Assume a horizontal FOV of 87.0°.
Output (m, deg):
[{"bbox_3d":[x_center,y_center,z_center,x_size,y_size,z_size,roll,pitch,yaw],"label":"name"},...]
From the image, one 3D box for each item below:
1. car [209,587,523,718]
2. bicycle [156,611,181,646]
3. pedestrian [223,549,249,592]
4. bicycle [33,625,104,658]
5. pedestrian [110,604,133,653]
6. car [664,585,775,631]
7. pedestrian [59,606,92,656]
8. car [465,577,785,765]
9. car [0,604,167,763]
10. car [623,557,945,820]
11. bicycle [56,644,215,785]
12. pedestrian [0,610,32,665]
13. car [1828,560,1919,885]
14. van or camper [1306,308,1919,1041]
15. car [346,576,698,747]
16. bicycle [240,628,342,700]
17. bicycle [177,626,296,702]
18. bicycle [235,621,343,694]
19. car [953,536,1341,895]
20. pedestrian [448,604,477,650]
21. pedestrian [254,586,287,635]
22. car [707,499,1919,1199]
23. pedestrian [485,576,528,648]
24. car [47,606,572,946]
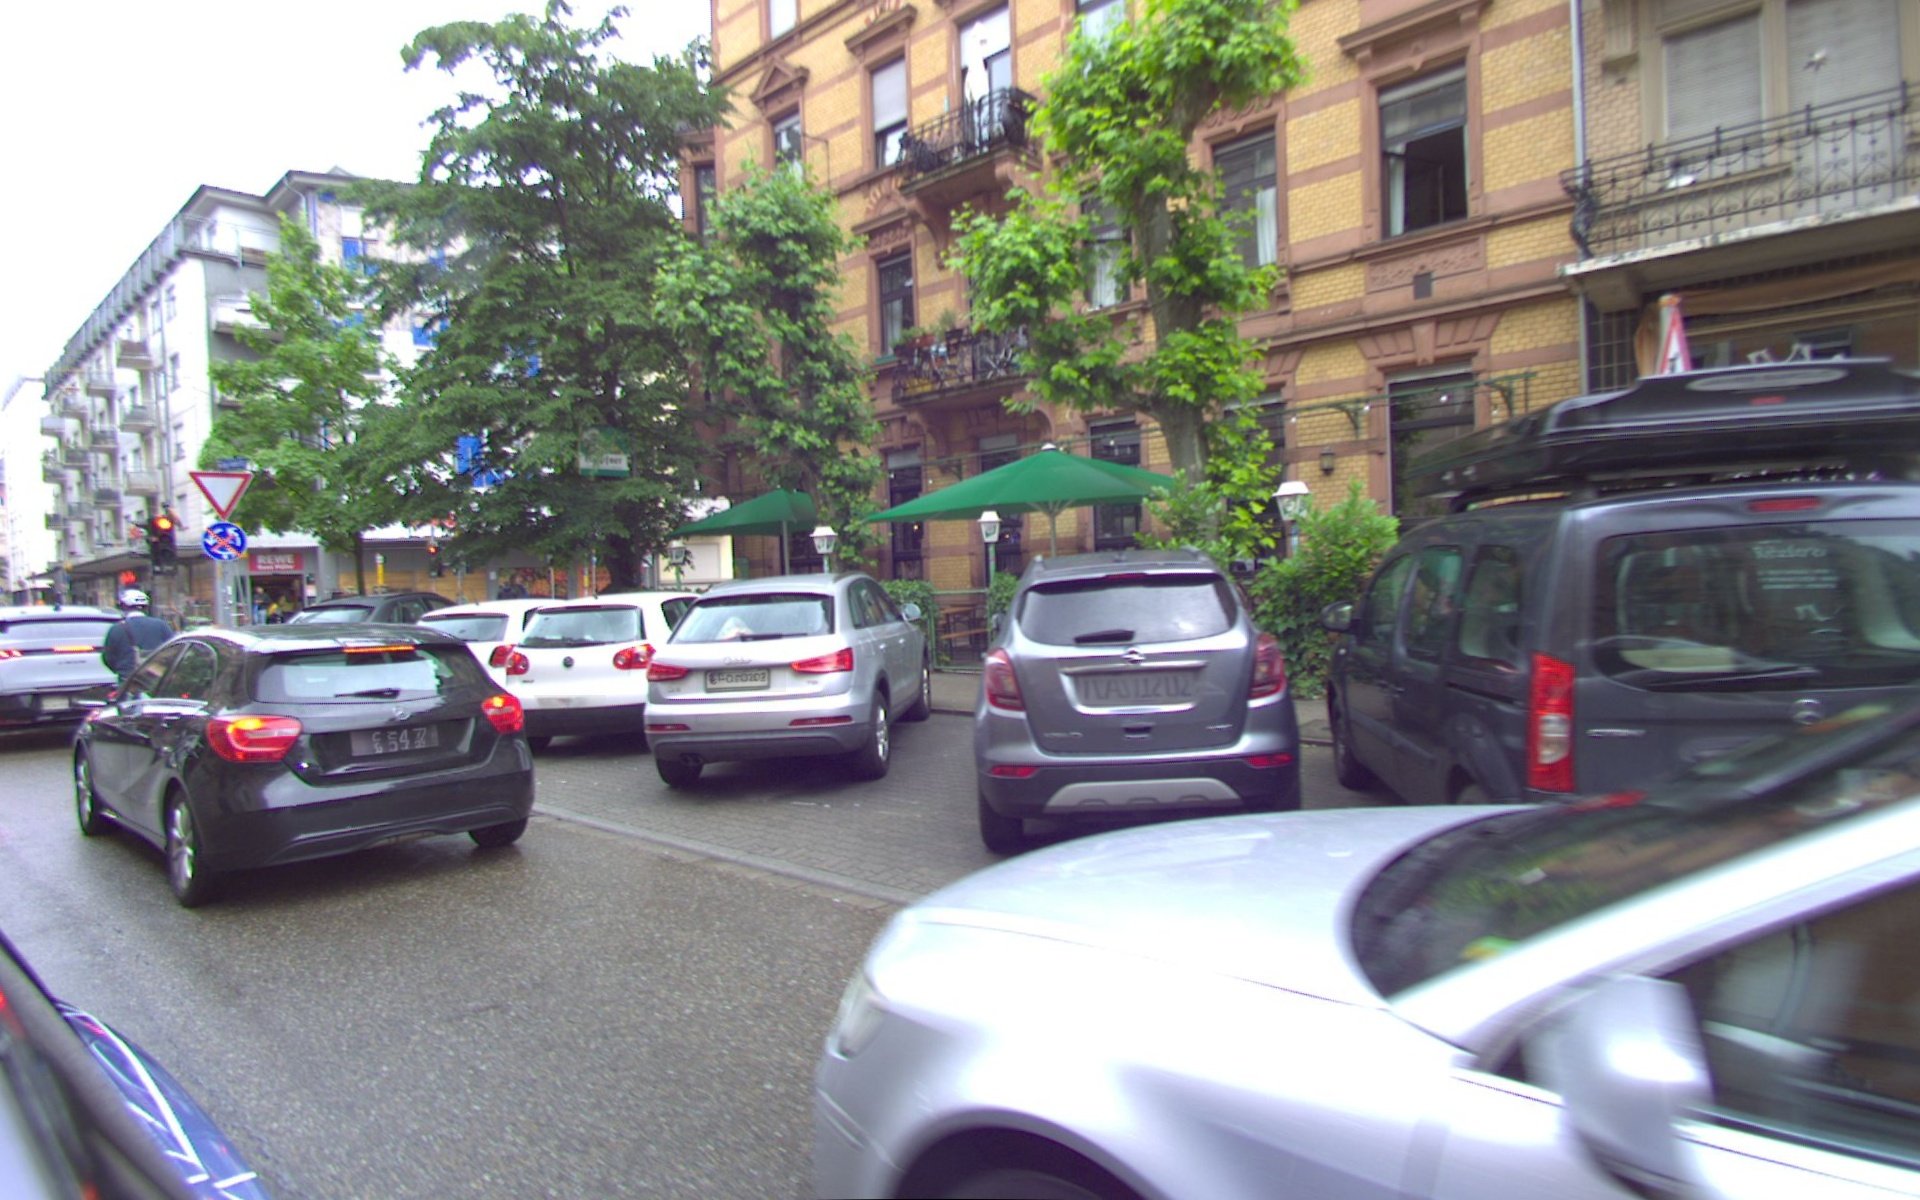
[{"bbox_3d":[-8.917,0.682,15.760,1.975,1.575,4.453,-1,3,5],"label":"car"},{"bbox_3d":[-32.947,1.189,42.119,2.024,1.383,0.444,-2,3,43],"label":"bicycle"},{"bbox_3d":[-27.932,-1.133,39.035,0.536,1.596,0.696,-2,2,-14],"label":"pedestrian"},{"bbox_3d":[-34.024,1.578,38.648,0.658,1.041,1.879,-3,3,27],"label":"bicycle"},{"bbox_3d":[-32.245,1.094,38.932,0.595,1.862,0.770,-3,1,-40],"label":"pedestrian"},{"bbox_3d":[-9.887,0.339,41.485,4.450,1.693,1.976,-2,1,36],"label":"car"},{"bbox_3d":[-33.961,1.172,38.866,0.850,1.862,0.770,-3,1,-40],"label":"pedestrian"},{"bbox_3d":[-3.380,0.607,11.169,1.779,1.504,4.132,-1,3,6],"label":"car"},{"bbox_3d":[-11.736,0.944,12.770,5.006,1.672,1.839,-2,-1,41],"label":"car"},{"bbox_3d":[-1.249,0.540,9.017,1.778,1.674,4.133,-2,3,5],"label":"car"},{"bbox_3d":[-8.012,1.049,9.792,2.267,1.189,0.762,-3,-1,40],"label":"bicycle"},{"bbox_3d":[-33.712,1.337,36.024,0.707,1.911,0.606,-3,2,-14],"label":"pedestrian"},{"bbox_3d":[5.098,0.524,3.103,1.807,1.506,3.988,-2,-1,9],"label":"car"},{"bbox_3d":[3.145,0.120,5.118,1.915,2.255,4.074,-1,3,9],"label":"van or camper"},{"bbox_3d":[-5.249,0.607,13.027,1.976,1.574,4.716,-4,2,7],"label":"car"},{"bbox_3d":[-11.154,1.066,16.865,1.667,1.152,0.397,-2,2,17],"label":"bicycle"},{"bbox_3d":[-11.772,1.040,16.473,1.665,1.152,0.585,-2,2,13],"label":"bicycle"},{"bbox_3d":[-11.516,0.984,17.365,1.861,1.194,0.397,-2,2,17],"label":"bicycle"},{"bbox_3d":[1.038,0.437,6.833,1.778,1.674,4.133,-2,3,5],"label":"car"},{"bbox_3d":[-18.097,0.971,36.833,0.786,1.627,0.606,-3,2,-14],"label":"pedestrian"},{"bbox_3d":[-27.399,0.408,40.227,0.682,1.777,0.867,-3,9,-14],"label":"pedestrian"},{"bbox_3d":[1.884,0.649,0.849,4.581,1.505,1.776,-2,0,42],"label":"car"},{"bbox_3d":[-13.338,0.339,29.814,0.929,2.028,0.866,-3,1,-14],"label":"pedestrian"},{"bbox_3d":[-4.393,0.825,6.561,4.136,1.505,1.777,-1,-1,41],"label":"car"}]
